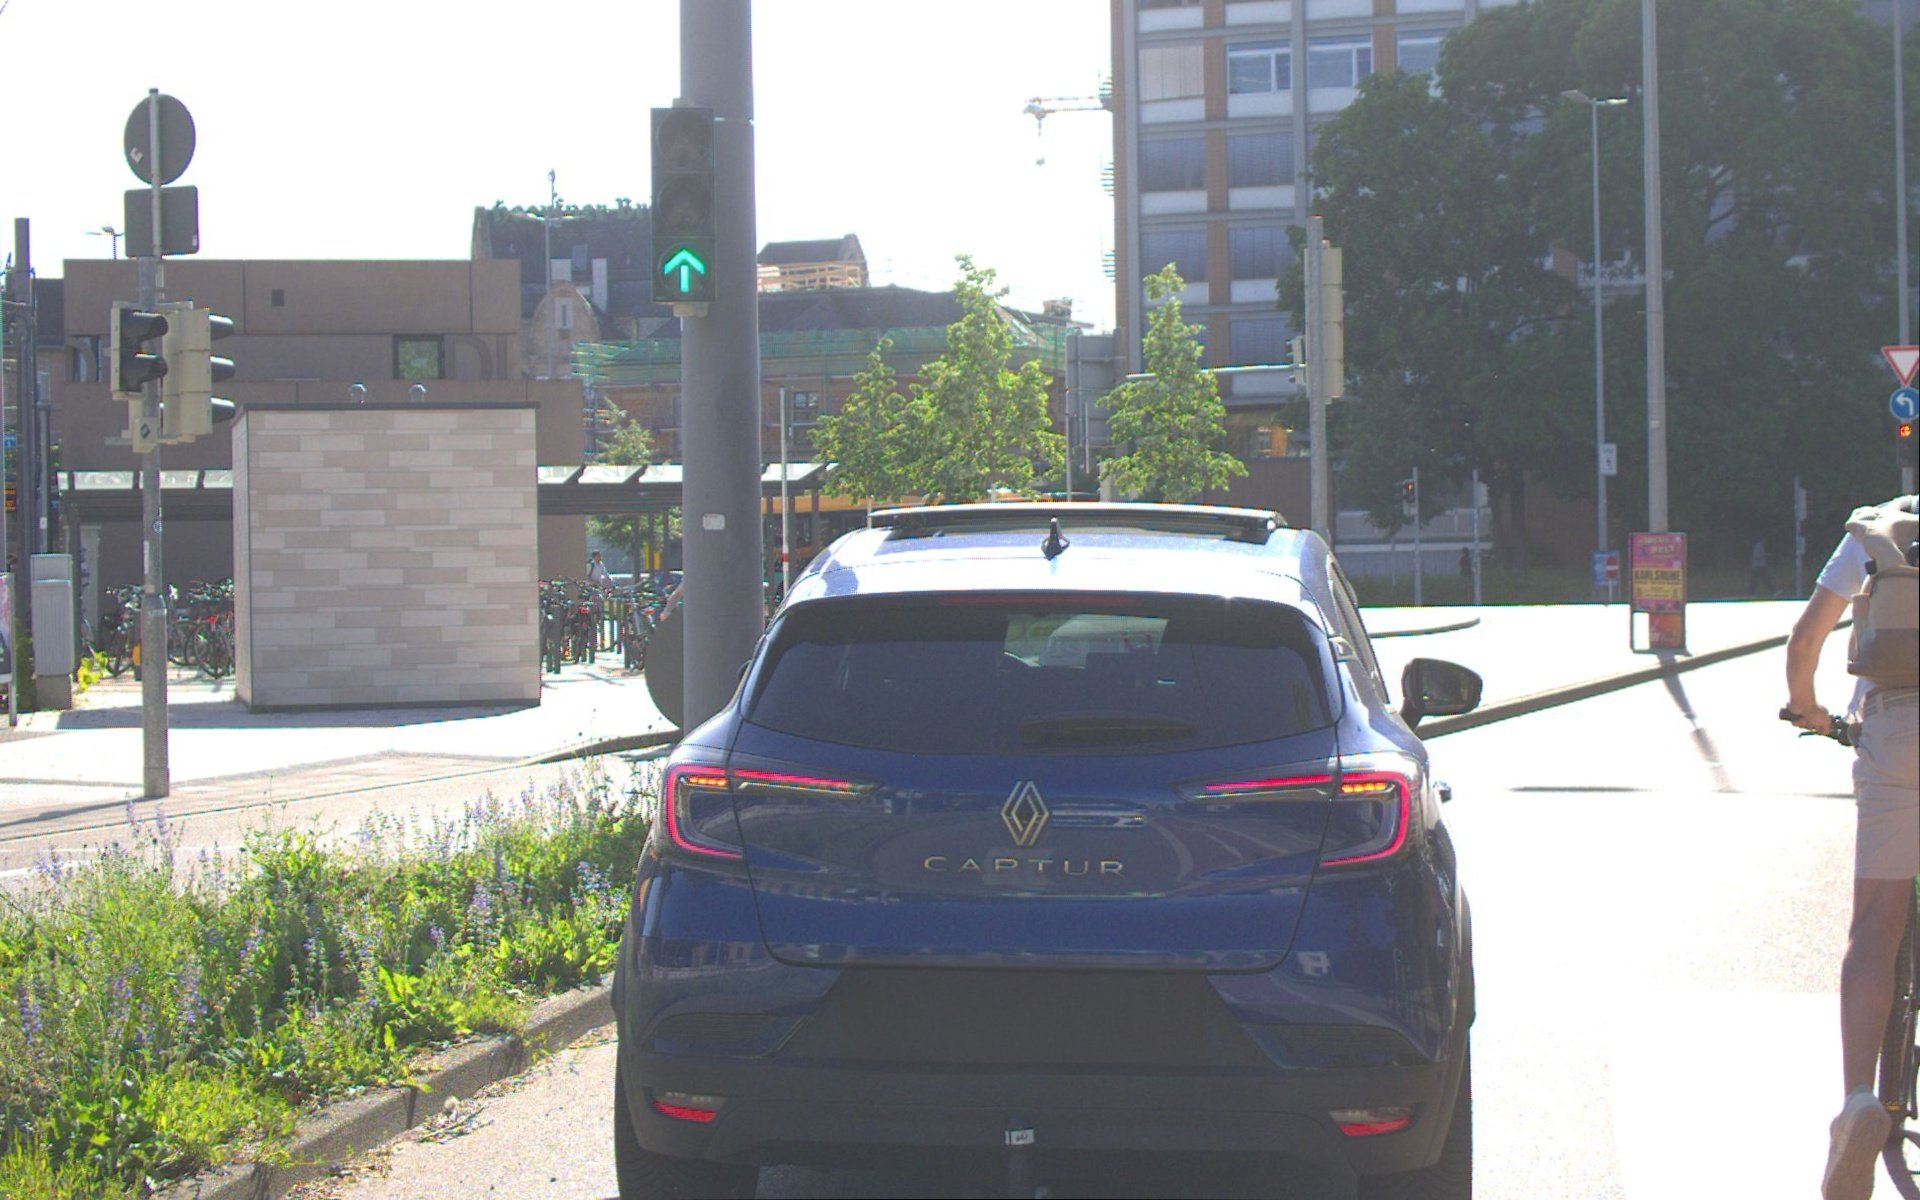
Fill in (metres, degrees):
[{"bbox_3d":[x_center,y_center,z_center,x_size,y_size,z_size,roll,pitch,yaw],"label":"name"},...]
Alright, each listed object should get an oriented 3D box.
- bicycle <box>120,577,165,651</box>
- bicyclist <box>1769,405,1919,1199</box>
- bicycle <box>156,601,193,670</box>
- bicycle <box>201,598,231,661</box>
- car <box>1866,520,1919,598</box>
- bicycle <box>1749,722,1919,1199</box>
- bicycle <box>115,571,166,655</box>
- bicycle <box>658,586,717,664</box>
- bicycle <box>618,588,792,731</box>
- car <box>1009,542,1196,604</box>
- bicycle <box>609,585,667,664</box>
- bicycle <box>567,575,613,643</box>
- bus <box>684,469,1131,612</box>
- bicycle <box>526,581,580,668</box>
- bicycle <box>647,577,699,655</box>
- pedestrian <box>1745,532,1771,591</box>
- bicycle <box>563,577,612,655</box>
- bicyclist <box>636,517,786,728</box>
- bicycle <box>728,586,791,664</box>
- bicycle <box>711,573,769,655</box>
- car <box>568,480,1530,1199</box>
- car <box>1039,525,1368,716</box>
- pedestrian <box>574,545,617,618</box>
[{"bbox_3d":[-12.398,0.213,52.162,0.565,1.090,2.030,0,0,-11],"label":"bicycle"},{"bbox_3d":[2.244,0.447,7.820,0.664,1.741,1.005,0,1,6],"label":"bicyclist"},{"bbox_3d":[-10.873,0.485,47.576,0.421,0.934,1.306,1,0,-15],"label":"bicycle"},{"bbox_3d":[-11.375,0.441,52.597,0.421,0.934,1.379,1,0,-12],"label":"bicycle"},{"bbox_3d":[21.205,-0.930,71.493,4.235,1.563,1.824,-3,1,-21],"label":"car"},{"bbox_3d":[2.258,0.861,7.884,0.663,1.043,1.890,0,2,6],"label":"bicycle"},{"bbox_3d":[-10.920,0.177,45.853,0.565,1.090,2.030,0,0,-11],"label":"bicycle"},{"bbox_3d":[-3.424,0.310,43.073,0.580,0.958,2.059,0,0,-9],"label":"bicycle"},{"bbox_3d":[-2.023,0.461,27.593,0.773,1.077,2.034,-1,0,14],"label":"bicycle"},{"bbox_3d":[3.580,-0.670,86.826,4.406,1.516,1.966,0,-1,38],"label":"car"},{"bbox_3d":[-4.036,0.307,42.985,0.580,0.958,2.059,0,0,-9],"label":"bicycle"},{"bbox_3d":[-6.048,0.154,56.117,0.580,1.084,1.872,0,0,-11],"label":"bicycle"},{"bbox_3d":[-1.511,-1.402,86.760,12.434,3.384,2.876,0,-1,40],"label":"bus"},{"bbox_3d":[-5.052,0.301,42.609,0.580,1.054,1.817,0,0,-9],"label":"bicycle"},{"bbox_3d":[-4.070,0.232,48.716,0.580,1.084,2.059,0,0,-9],"label":"bicycle"},{"bbox_3d":[22.815,-1.102,98.304,0.561,1.664,0.475,0,-1,37],"label":"pedestrian"},{"bbox_3d":[-5.280,0.227,48.643,0.580,1.084,2.059,0,0,-9],"label":"bicycle"},{"bbox_3d":[-1.988,0.176,27.556,0.880,1.639,1.060,-1,0,14],"label":"bicyclist"},{"bbox_3d":[-2.539,0.314,43.315,0.580,0.958,2.059,0,0,-9],"label":"bicycle"},{"bbox_3d":[-2.907,0.187,45.351,0.580,1.048,1.973,0,0,-9],"label":"bicycle"},{"bbox_3d":[0.321,0.549,8.377,1.823,1.594,3.658,1,1,5],"label":"car"},{"bbox_3d":[2.214,0.133,30.146,1.802,1.388,4.089,-1,3,20],"label":"car"},{"bbox_3d":[-8.677,-0.431,81.834,0.626,1.735,0.786,0,-1,37],"label":"pedestrian"}]
